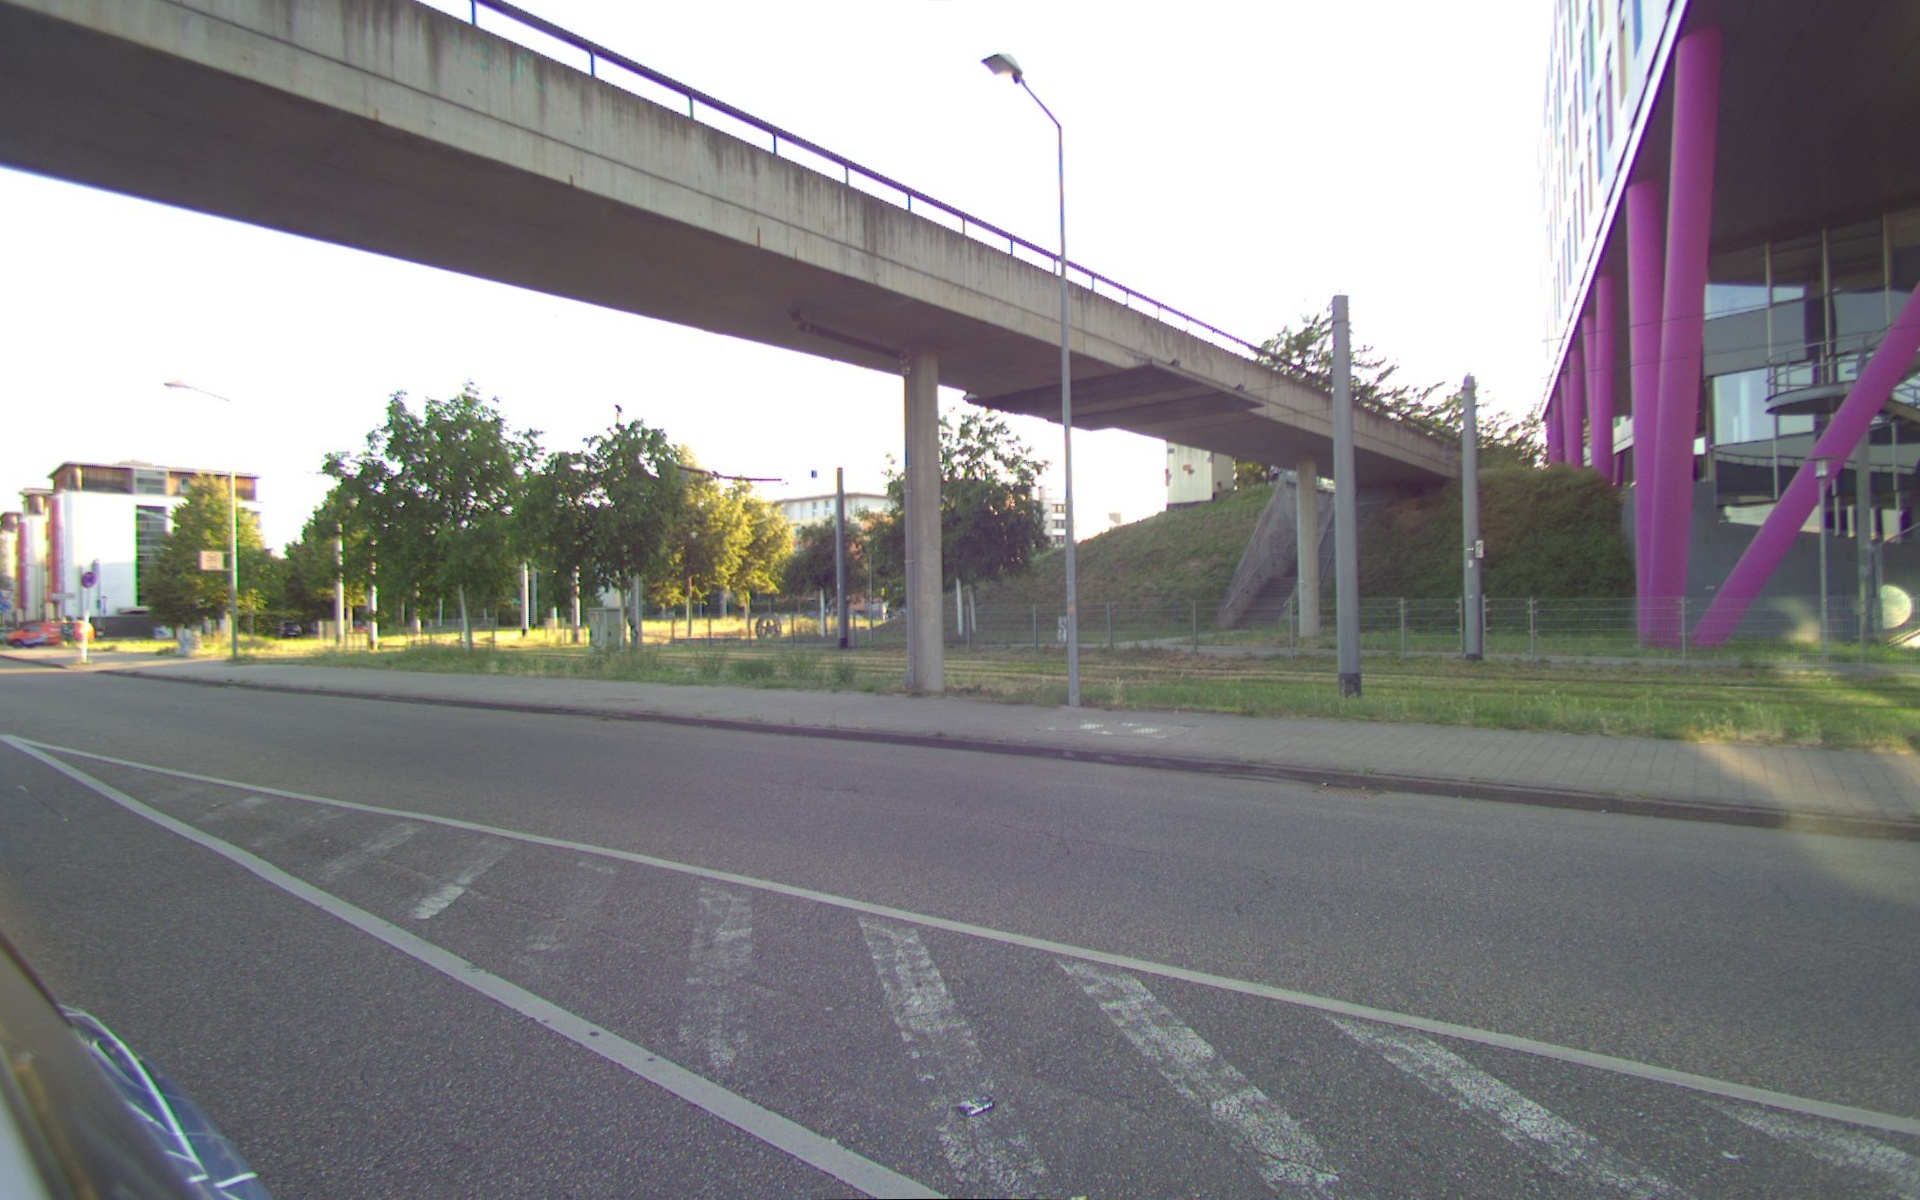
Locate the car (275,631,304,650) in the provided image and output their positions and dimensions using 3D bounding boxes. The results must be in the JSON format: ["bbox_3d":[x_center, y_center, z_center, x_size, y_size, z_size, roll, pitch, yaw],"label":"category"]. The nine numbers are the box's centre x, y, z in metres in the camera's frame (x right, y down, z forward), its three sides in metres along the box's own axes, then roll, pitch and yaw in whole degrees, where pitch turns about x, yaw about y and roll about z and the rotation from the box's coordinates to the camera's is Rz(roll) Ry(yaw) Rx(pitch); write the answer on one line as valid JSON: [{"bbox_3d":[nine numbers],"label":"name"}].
[{"bbox_3d":[-56.918,3.433,85.874,1.913,1.541,4.009,-1,-1,-36],"label":"car"}]

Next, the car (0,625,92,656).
[{"bbox_3d":[-66.637,2.907,73.266,5.430,2.029,2.007,-1,-1,-24],"label":"car"}]

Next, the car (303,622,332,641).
[{"bbox_3d":[-55.319,2.737,87.128,1.913,1.541,4.009,-1,-1,-36],"label":"car"}]

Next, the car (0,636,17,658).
[{"bbox_3d":[-80.589,3.933,83.483,2.000,1.741,3.944,-2,-1,42],"label":"car"}]
